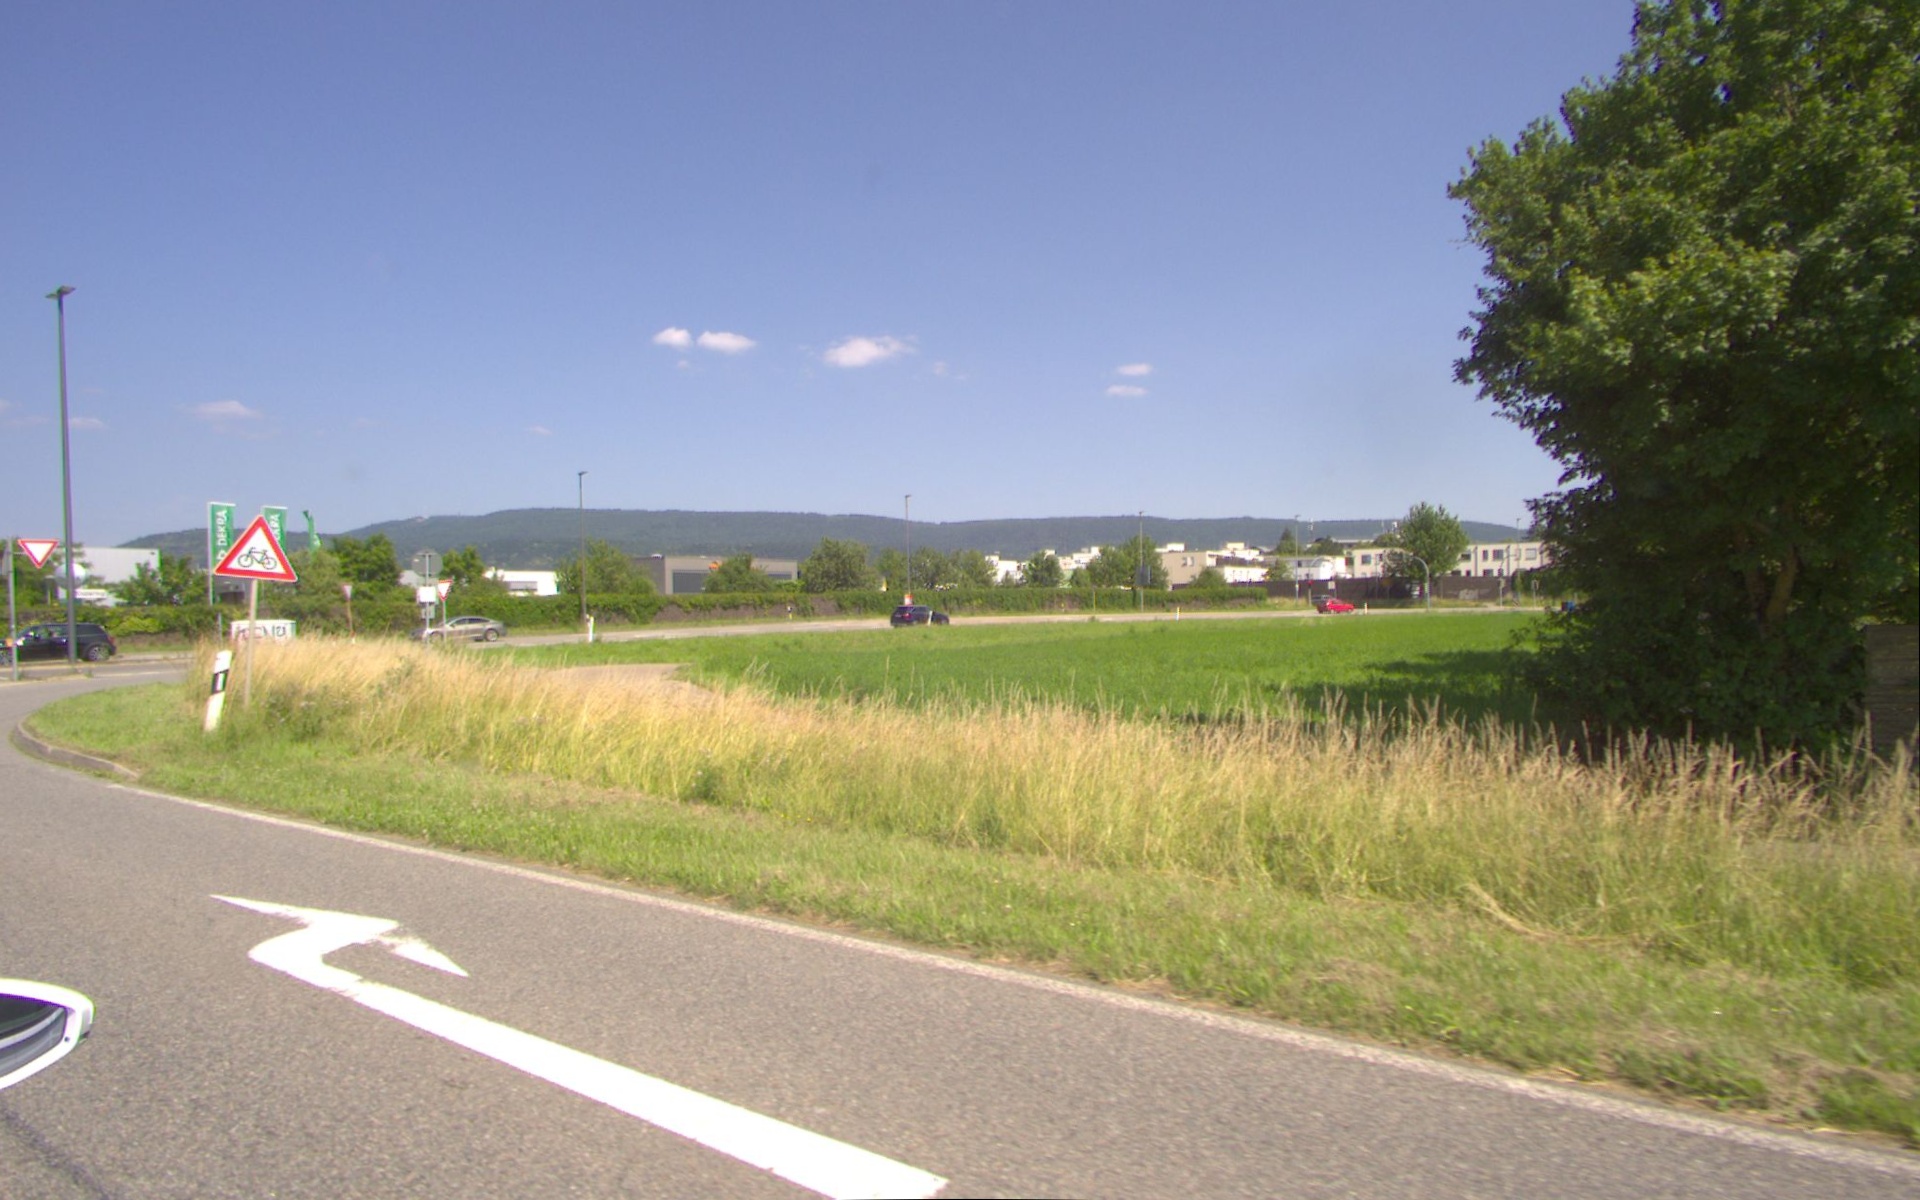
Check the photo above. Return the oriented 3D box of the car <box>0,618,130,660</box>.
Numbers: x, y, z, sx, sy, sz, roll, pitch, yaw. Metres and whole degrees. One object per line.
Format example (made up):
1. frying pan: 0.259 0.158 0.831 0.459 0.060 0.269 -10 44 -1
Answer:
1. car: -32.063 1.340 35.410 1.787 1.344 3.964 0 0 43

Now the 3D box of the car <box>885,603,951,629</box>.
1. car: -2.789 1.033 67.570 1.979 1.638 4.299 0 0 44

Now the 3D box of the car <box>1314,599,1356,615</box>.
1. car: 38.339 0.698 102.323 3.935 1.567 1.769 -1 0 -23

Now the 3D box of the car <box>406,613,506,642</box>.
1. car: -26.350 1.409 52.431 1.787 1.344 4.338 -1 0 43
